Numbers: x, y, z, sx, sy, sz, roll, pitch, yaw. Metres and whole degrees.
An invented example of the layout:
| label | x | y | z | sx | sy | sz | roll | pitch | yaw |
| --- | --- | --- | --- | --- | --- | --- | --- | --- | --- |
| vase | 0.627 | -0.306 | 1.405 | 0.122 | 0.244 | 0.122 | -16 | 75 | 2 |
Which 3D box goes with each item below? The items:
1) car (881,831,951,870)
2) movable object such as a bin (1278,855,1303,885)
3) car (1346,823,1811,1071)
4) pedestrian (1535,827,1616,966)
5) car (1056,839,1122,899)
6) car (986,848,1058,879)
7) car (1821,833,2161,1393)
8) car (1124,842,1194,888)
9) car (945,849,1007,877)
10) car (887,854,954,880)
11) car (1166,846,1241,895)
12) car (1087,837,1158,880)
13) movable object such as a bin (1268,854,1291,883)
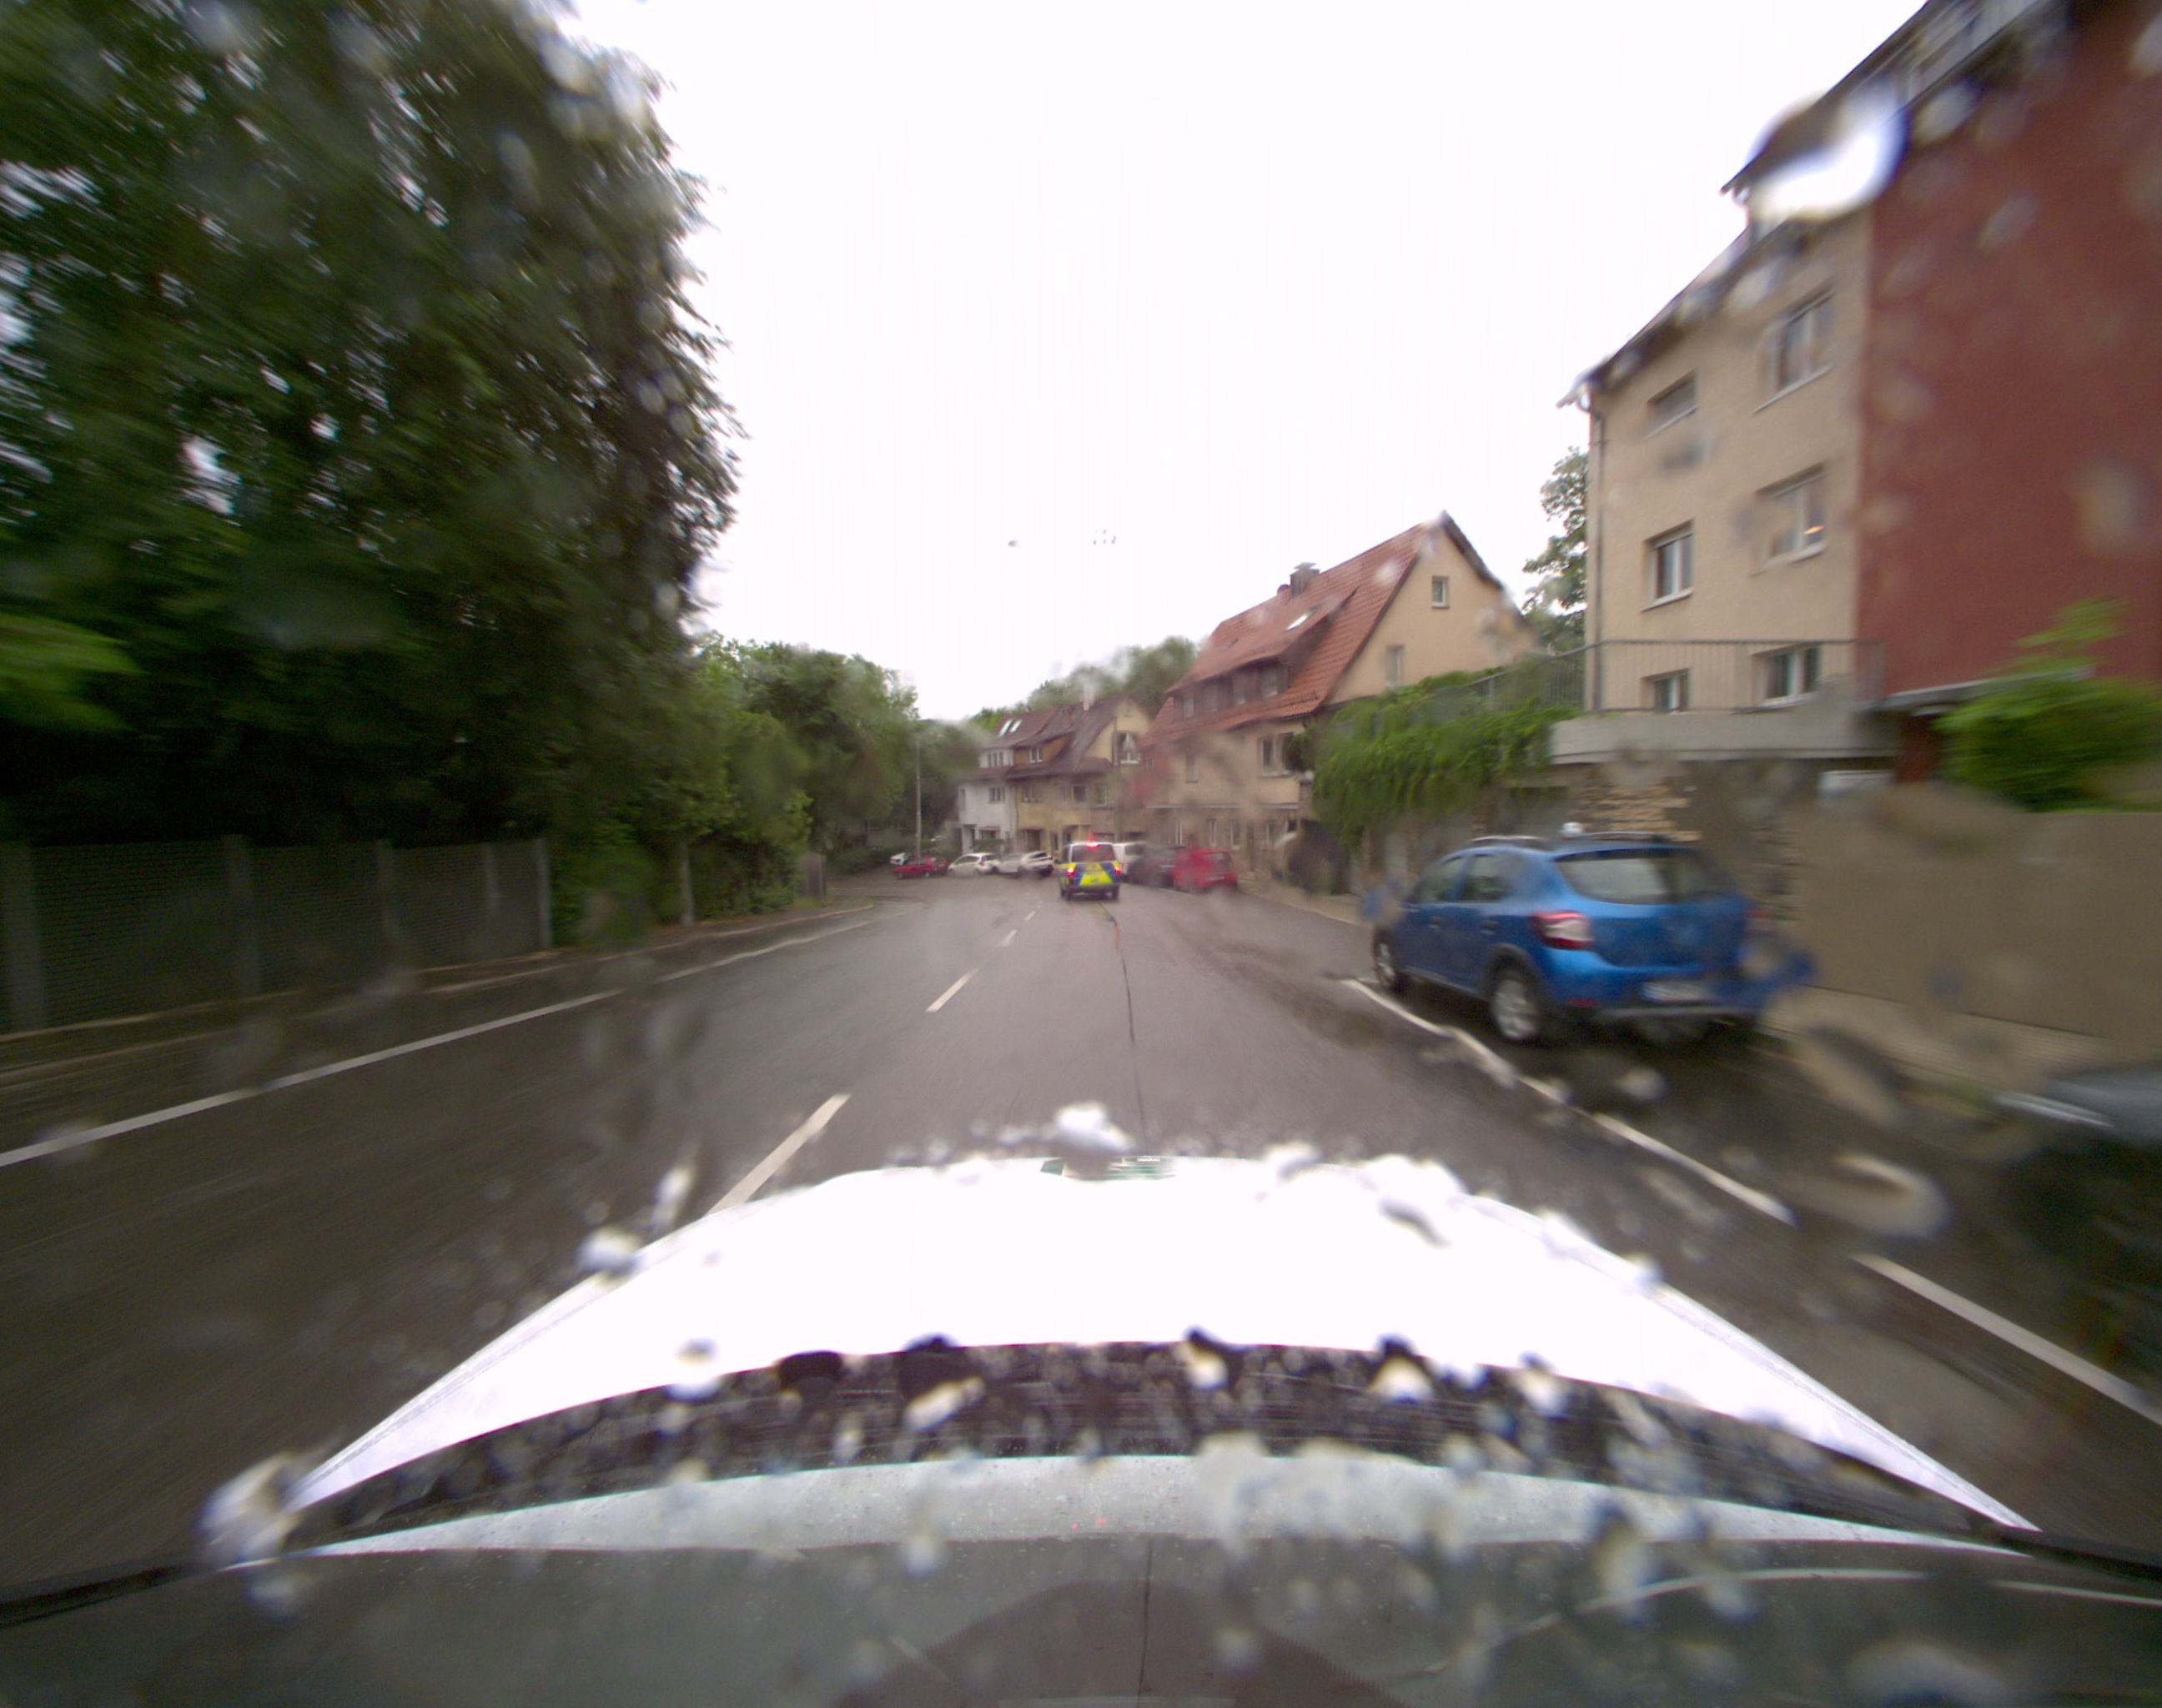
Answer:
| label | x | y | z | sx | sy | sz | roll | pitch | yaw |
| --- | --- | --- | --- | --- | --- | --- | --- | --- | --- |
| car | -12.334 | -0.272 | 60.900 | 4.426 | 1.841 | 1.981 | -16 | 9 | -28 |
| movable object such as a bin | 7.015 | 0.528 | 27.301 | 0.595 | 0.923 | 0.513 | -6 | 2 | -5 |
| car | 4.004 | 0.592 | 7.546 | 1.728 | 1.593 | 4.254 | -2 | 1 | 1 |
| pedestrian | 6.118 | 0.505 | 10.083 | 0.623 | 1.650 | 0.609 | -1 | 0 | -30 |
| car | 0.195 | 0.541 | 29.319 | 1.989 | 1.893 | 4.564 | -3 | -1 | -3 |
| car | -3.519 | 0.558 | 47.980 | 1.930 | 1.538 | 4.363 | -7 | 3 | -39 |
| car | 3.714 | 0.686 | 0.995 | 1.684 | 1.455 | 4.251 | -2 | 1 | -1 |
| car | 3.172 | 0.396 | 33.966 | 1.616 | 1.604 | 4.395 | -6 | 2 | -11 |
| car | -6.675 | 0.590 | 51.510 | 3.775 | 1.514 | 1.782 | -3 | 3 | 44 |
| car | -10.767 | 0.898 | 54.587 | 4.141 | 1.367 | 1.798 | -4 | 2 | 32 |
| car | 4.275 | 0.519 | 28.858 | 1.614 | 1.435 | 3.573 | -6 | 2 | -7 |
| car | 1.900 | 0.188 | 38.807 | 1.711 | 1.790 | 4.296 | -6 | 2 | -20 |
| movable object such as a bin | 6.831 | 0.503 | 28.039 | 0.586 | 0.923 | 0.507 | -6 | 2 | -5 |
